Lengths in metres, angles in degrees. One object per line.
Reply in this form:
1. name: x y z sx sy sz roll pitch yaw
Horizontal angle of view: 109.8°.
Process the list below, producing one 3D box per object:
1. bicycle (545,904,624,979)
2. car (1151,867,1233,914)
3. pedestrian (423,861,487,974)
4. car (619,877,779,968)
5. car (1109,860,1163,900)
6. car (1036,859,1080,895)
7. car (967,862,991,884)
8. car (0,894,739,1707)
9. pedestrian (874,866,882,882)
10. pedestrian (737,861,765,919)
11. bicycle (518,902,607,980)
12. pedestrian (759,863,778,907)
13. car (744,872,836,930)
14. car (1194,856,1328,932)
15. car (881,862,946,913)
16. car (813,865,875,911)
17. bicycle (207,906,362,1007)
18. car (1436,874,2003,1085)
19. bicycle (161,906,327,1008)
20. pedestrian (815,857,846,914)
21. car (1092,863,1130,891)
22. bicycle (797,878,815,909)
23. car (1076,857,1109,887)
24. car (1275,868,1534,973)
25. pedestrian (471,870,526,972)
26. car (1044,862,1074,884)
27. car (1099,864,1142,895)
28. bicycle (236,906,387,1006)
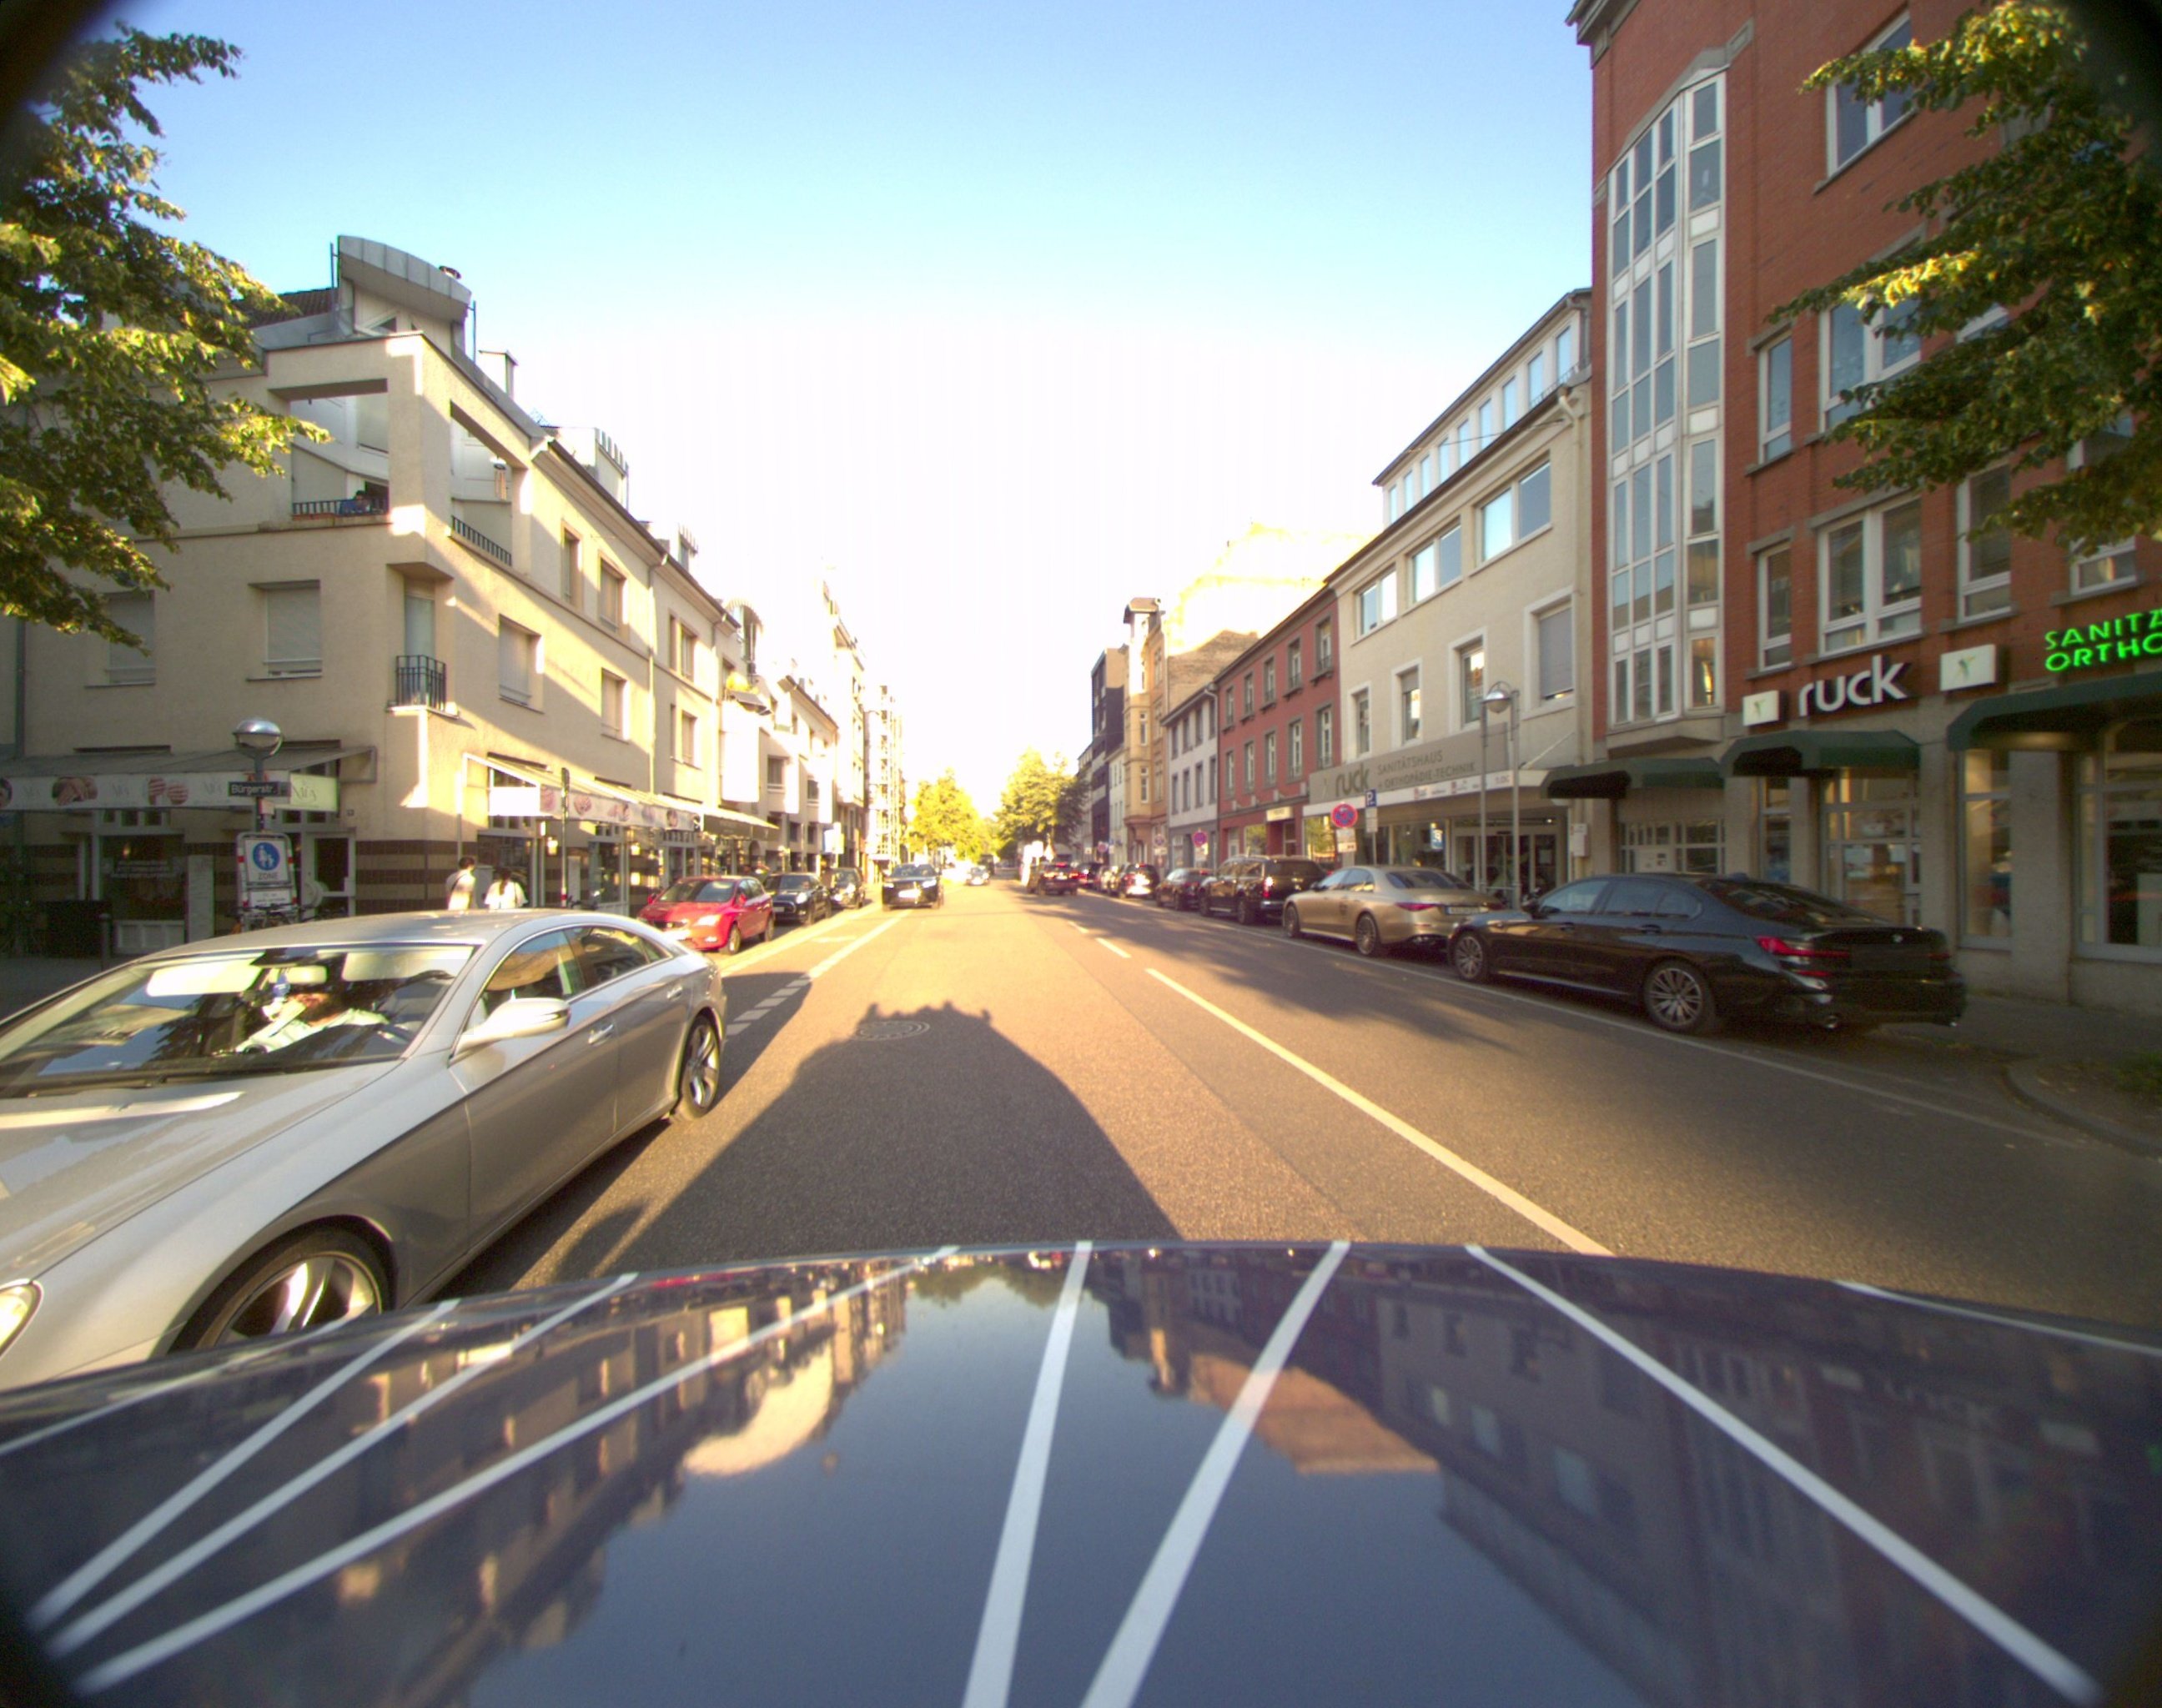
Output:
1. bicycle: -8.017 1.379 12.327 0.315 1.040 1.664 0 0 -5
2. car: 3.780 1.222 26.497 1.707 1.429 4.011 2 -1 -8
3. pedestrian: -9.921 0.995 12.052 0.545 1.748 0.502 2 0 -8
4. car: -7.197 1.217 14.743 1.594 1.425 3.923 0 0 -8
5. car: 2.461 1.152 34.964 1.726 1.673 4.047 2 -1 -6
6. car: -1.179 1.118 37.760 1.736 1.665 4.293 -1 -1 -7
7. car: -7.490 1.375 55.894 1.623 1.465 3.686 -2 0 -8
8. car: -3.031 1.047 3.068 1.748 1.393 4.635 -2 1 -8
9. pedestrian: -16.579 1.617 62.017 0.492 1.256 0.421 -2 1 -7
10. pedestrian: -10.020 1.074 23.093 0.631 1.739 0.669 0 0 -8
11. bicycle: -8.357 1.366 12.332 0.315 1.040 1.881 0 0 -5
12. pedestrian: -13.086 1.277 31.810 0.576 1.789 0.450 -2 1 -7
13. car: -8.223 1.272 21.770 1.622 1.425 3.923 0 0 -8
14. car: 4.617 0.964 20.330 1.726 1.768 4.935 1 -1 -9
15. car: -5.948 1.135 27.456 1.891 1.626 4.224 -2 0 -8
16. car: -9.029 1.238 29.212 1.622 1.583 3.923 -1 0 -8
17. bicycle: -10.609 1.311 10.216 0.291 1.098 1.886 -1 0 -7
18. car: 5.868 1.007 7.931 1.726 1.464 4.538 2 -1 -7
19. bicycle: -11.084 1.314 10.153 0.322 1.098 1.878 -1 0 -7
20. pedestrian: -8.514 1.066 25.871 0.779 1.872 0.669 -4 1 -8
21. car: 1.680 1.302 44.104 1.674 1.448 3.563 2 -1 -6
22. bicycle: -10.597 1.510 29.328 0.296 1.079 1.462 -1 0 -7
23. car: 0.690 1.123 47.914 1.674 1.763 3.563 2 -1 -6
24. car: 5.345 1.023 13.532 2.000 1.463 5.104 1 -1 -6
25. pedestrian: -9.302 1.064 12.146 0.521 1.583 0.408 2 0 -8
26. car: -1.622 1.341 54.907 1.674 1.512 3.562 1 0 -8
27. car: 2.050 1.307 40.087 1.690 1.461 3.689 2 -1 -6
28. bicycle: -10.292 1.314 10.254 0.322 1.098 1.878 -1 0 -7
